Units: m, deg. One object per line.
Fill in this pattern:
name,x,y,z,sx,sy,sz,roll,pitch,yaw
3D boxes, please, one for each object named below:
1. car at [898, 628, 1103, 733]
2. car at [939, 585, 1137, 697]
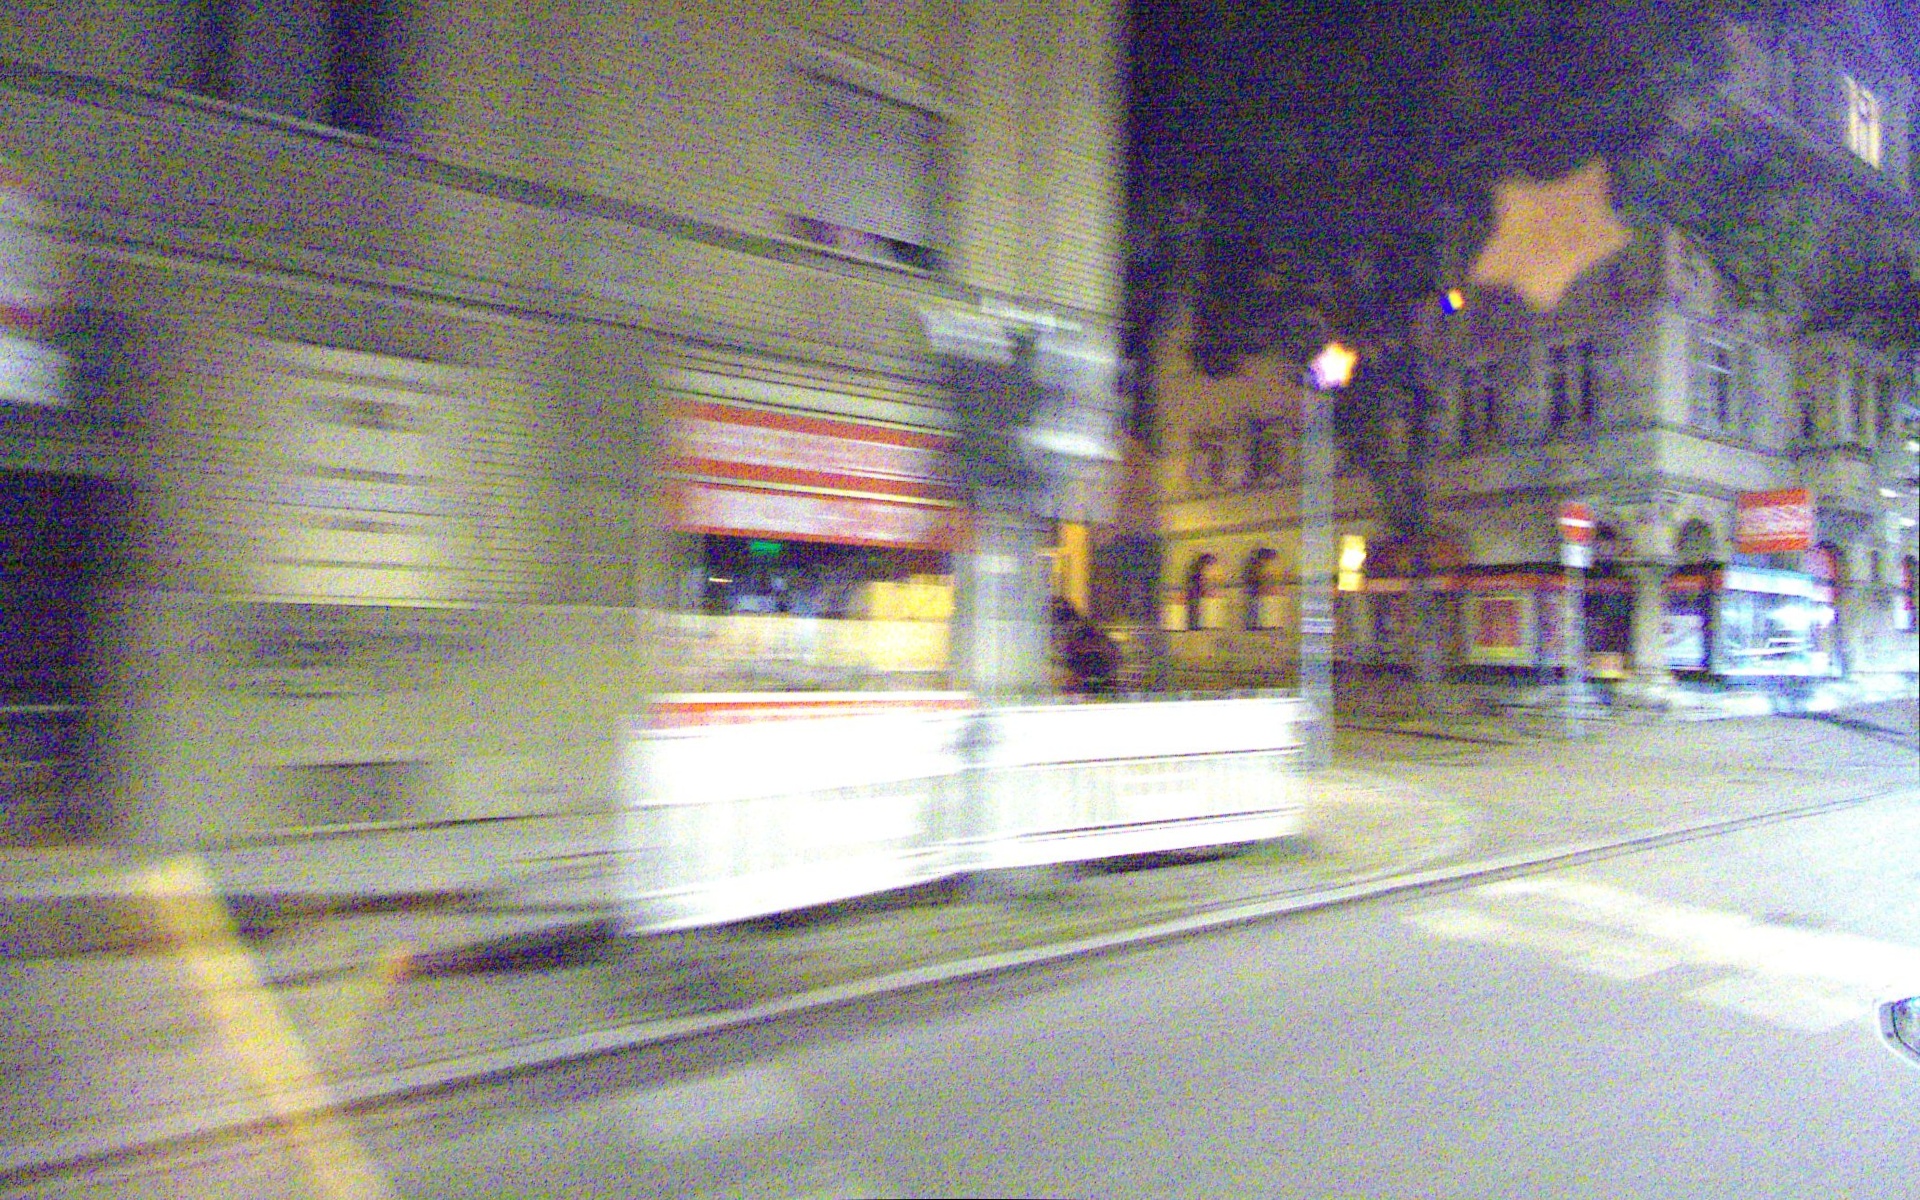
car,0.561,1.270,17.112,1.849,1.576,3.733,1,-2,-29
car,1.887,1.054,26.594,2.222,2.577,5.816,4,-3,-31
